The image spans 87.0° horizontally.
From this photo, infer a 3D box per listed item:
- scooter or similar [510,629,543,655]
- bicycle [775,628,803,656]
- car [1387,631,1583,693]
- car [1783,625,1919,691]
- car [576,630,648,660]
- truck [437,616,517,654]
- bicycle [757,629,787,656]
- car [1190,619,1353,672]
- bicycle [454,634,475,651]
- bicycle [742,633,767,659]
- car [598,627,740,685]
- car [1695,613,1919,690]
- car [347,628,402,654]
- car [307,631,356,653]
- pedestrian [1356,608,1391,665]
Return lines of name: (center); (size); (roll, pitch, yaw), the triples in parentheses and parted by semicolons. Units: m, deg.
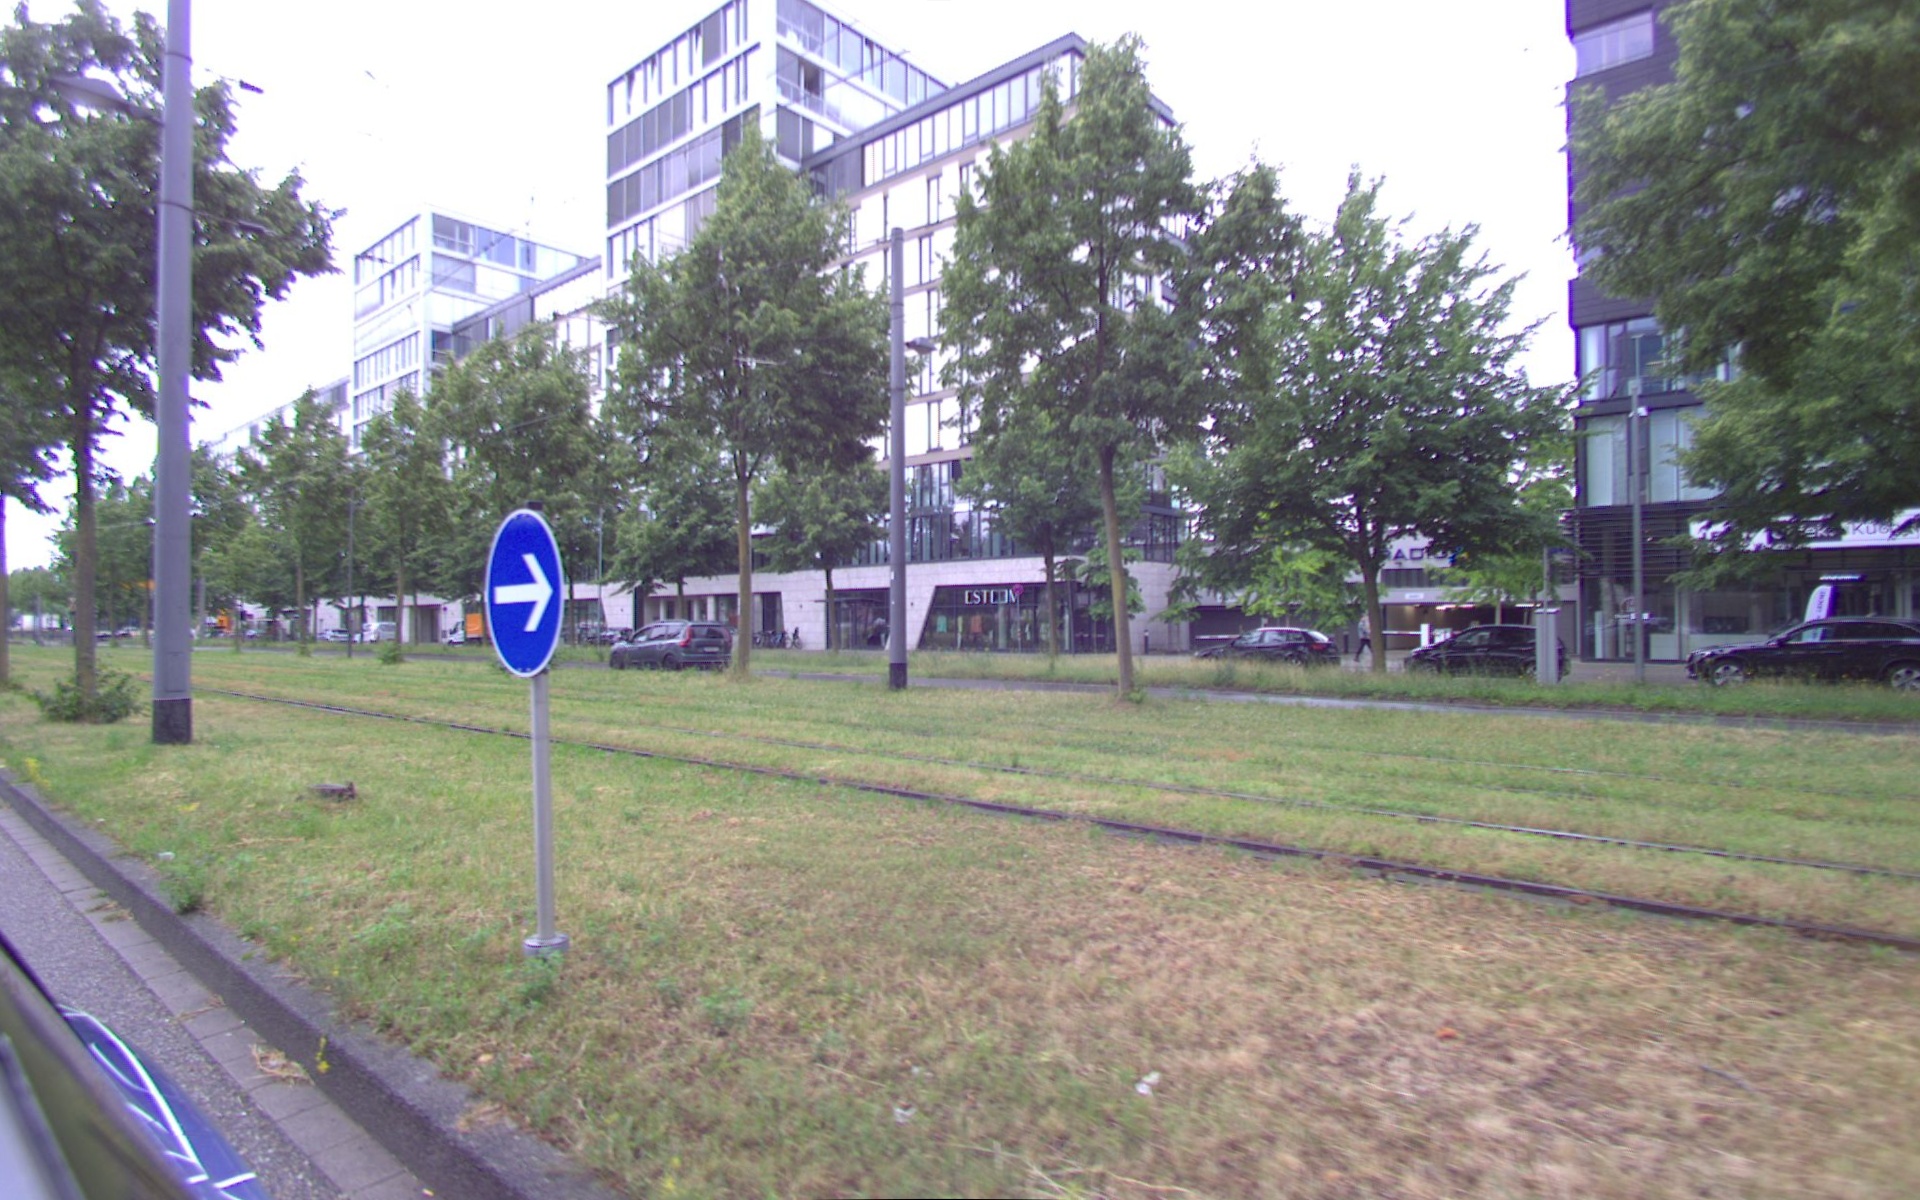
scooter or similar: (-31.878, 3.106, 74.427); (0.883, 1.838, 2.105); (-2, -1, 37)
bicycle: (-9.826, 2.425, 58.165); (0.606, 1.550, 1.552); (-2, -1, 40)
car: (13.026, 1.485, 25.217); (3.998, 1.389, 1.973); (-2, -1, 41)
car: (21.107, 1.272, 22.578); (4.181, 1.389, 1.798); (-2, -1, 41)
car: (-18.180, 2.308, 52.844); (3.986, 1.476, 1.836); (-2, -2, 41)
truck: (-31.227, 2.226, 65.307); (6.305, 2.309, 2.401); (-2, -2, 41)
bicycle: (-10.907, 2.455, 58.765); (0.680, 1.550, 1.686); (-2, -1, 40)
car: (8.842, 1.272, 28.904); (3.998, 1.389, 1.973); (-2, -1, 41)
bicycle: (-29.928, 2.556, 61.072); (1.758, 0.952, 0.592); (-2, -2, 45)
bicycle: (-12.204, 2.723, 60.027); (0.546, 1.494, 1.417); (-2, -1, 40)
car: (-8.470, 1.563, 29.269); (4.477, 1.536, 1.843); (-2, -2, 42)
car: (17.928, 1.022, 20.959); (4.239, 1.460, 1.684); (-2, -1, 41)
car: (-43.945, 3.029, 75.955); (5.161, 1.866, 1.973); (-2, -2, 40)
car: (-50.626, 3.360, 81.485); (4.461, 1.725, 2.122); (-2, -2, 41)
pedestrian: (14.804, 1.308, 36.250); (0.784, 1.996, 0.857); (0, -2, -41)
